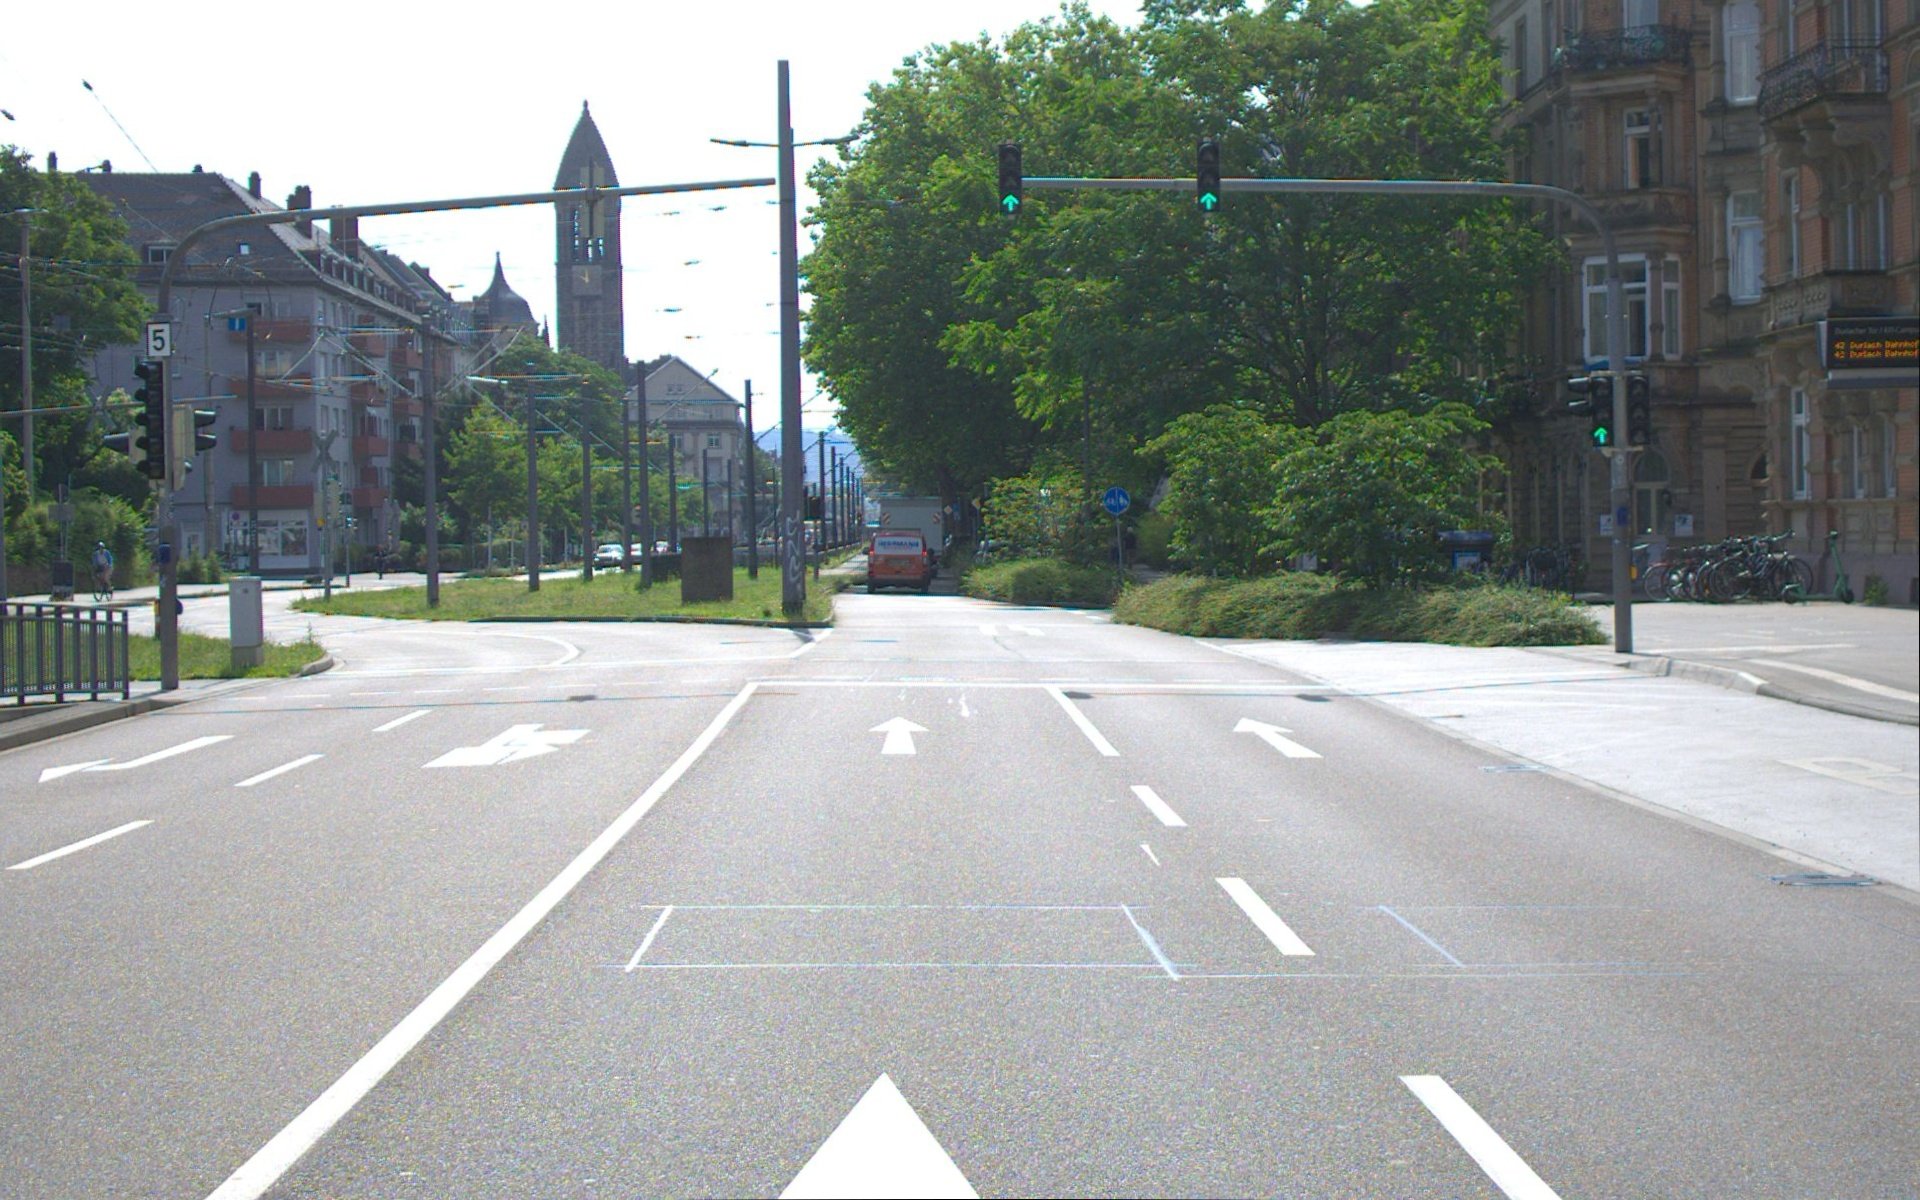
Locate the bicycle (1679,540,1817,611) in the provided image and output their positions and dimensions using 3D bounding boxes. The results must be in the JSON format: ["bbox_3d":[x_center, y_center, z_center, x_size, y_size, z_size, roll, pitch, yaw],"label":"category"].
[{"bbox_3d":[13.615,-0.435,59.417,2.189,1.177,0.684,-1,1,-5],"label":"bicycle"}]

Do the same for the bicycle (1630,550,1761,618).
[{"bbox_3d":[13.295,-0.299,62.185,2.189,1.177,0.684,-1,1,-5],"label":"bicycle"}]

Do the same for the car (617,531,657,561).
[{"bbox_3d":[-20.400,-3.424,217.170,1.994,1.787,4.000,-1,1,2],"label":"car"}]

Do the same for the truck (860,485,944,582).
[{"bbox_3d":[-2.261,-2.578,135.840,3.170,3.275,7.295,0,-3,0],"label":"truck"}]

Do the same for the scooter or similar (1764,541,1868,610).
[{"bbox_3d":[13.927,-0.403,55.961,1.565,1.094,0.451,-1,1,3],"label":"scooter or similar"}]

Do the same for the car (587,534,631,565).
[{"bbox_3d":[-20.619,-2.962,202.146,1.994,1.787,4.000,-1,1,2],"label":"car"}]

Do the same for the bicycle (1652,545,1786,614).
[{"bbox_3d":[13.419,-0.369,60.769,2.189,1.177,0.684,-1,1,-5],"label":"bicycle"}]

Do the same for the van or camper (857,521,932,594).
[{"bbox_3d":[-2.046,-1.281,105.763,2.008,1.908,4.523,1,-3,-5],"label":"van or camper"}]

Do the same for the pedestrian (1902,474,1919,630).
[{"bbox_3d":[12.811,-0.617,44.556,0.886,2.007,0.996,1,0,-1],"label":"pedestrian"}]

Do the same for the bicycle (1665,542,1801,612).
[{"bbox_3d":[13.499,-0.404,60.064,2.189,1.177,0.684,-1,1,-5],"label":"bicycle"}]

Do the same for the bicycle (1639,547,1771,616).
[{"bbox_3d":[13.327,-0.333,61.505,2.189,1.177,0.684,-1,1,-5],"label":"bicycle"}]

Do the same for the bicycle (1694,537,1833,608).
[{"bbox_3d":[13.698,-0.473,58.653,2.189,1.177,0.684,-1,1,-5],"label":"bicycle"}]

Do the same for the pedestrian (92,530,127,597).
[{"bbox_3d":[-26.431,-1.131,106.866,0.805,2.007,0.915,1,-3,-1],"label":"pedestrian"}]

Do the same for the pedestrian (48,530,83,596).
[{"bbox_3d":[-27.839,-1.148,106.989,0.805,2.007,0.915,1,-3,-1],"label":"pedestrian"}]
